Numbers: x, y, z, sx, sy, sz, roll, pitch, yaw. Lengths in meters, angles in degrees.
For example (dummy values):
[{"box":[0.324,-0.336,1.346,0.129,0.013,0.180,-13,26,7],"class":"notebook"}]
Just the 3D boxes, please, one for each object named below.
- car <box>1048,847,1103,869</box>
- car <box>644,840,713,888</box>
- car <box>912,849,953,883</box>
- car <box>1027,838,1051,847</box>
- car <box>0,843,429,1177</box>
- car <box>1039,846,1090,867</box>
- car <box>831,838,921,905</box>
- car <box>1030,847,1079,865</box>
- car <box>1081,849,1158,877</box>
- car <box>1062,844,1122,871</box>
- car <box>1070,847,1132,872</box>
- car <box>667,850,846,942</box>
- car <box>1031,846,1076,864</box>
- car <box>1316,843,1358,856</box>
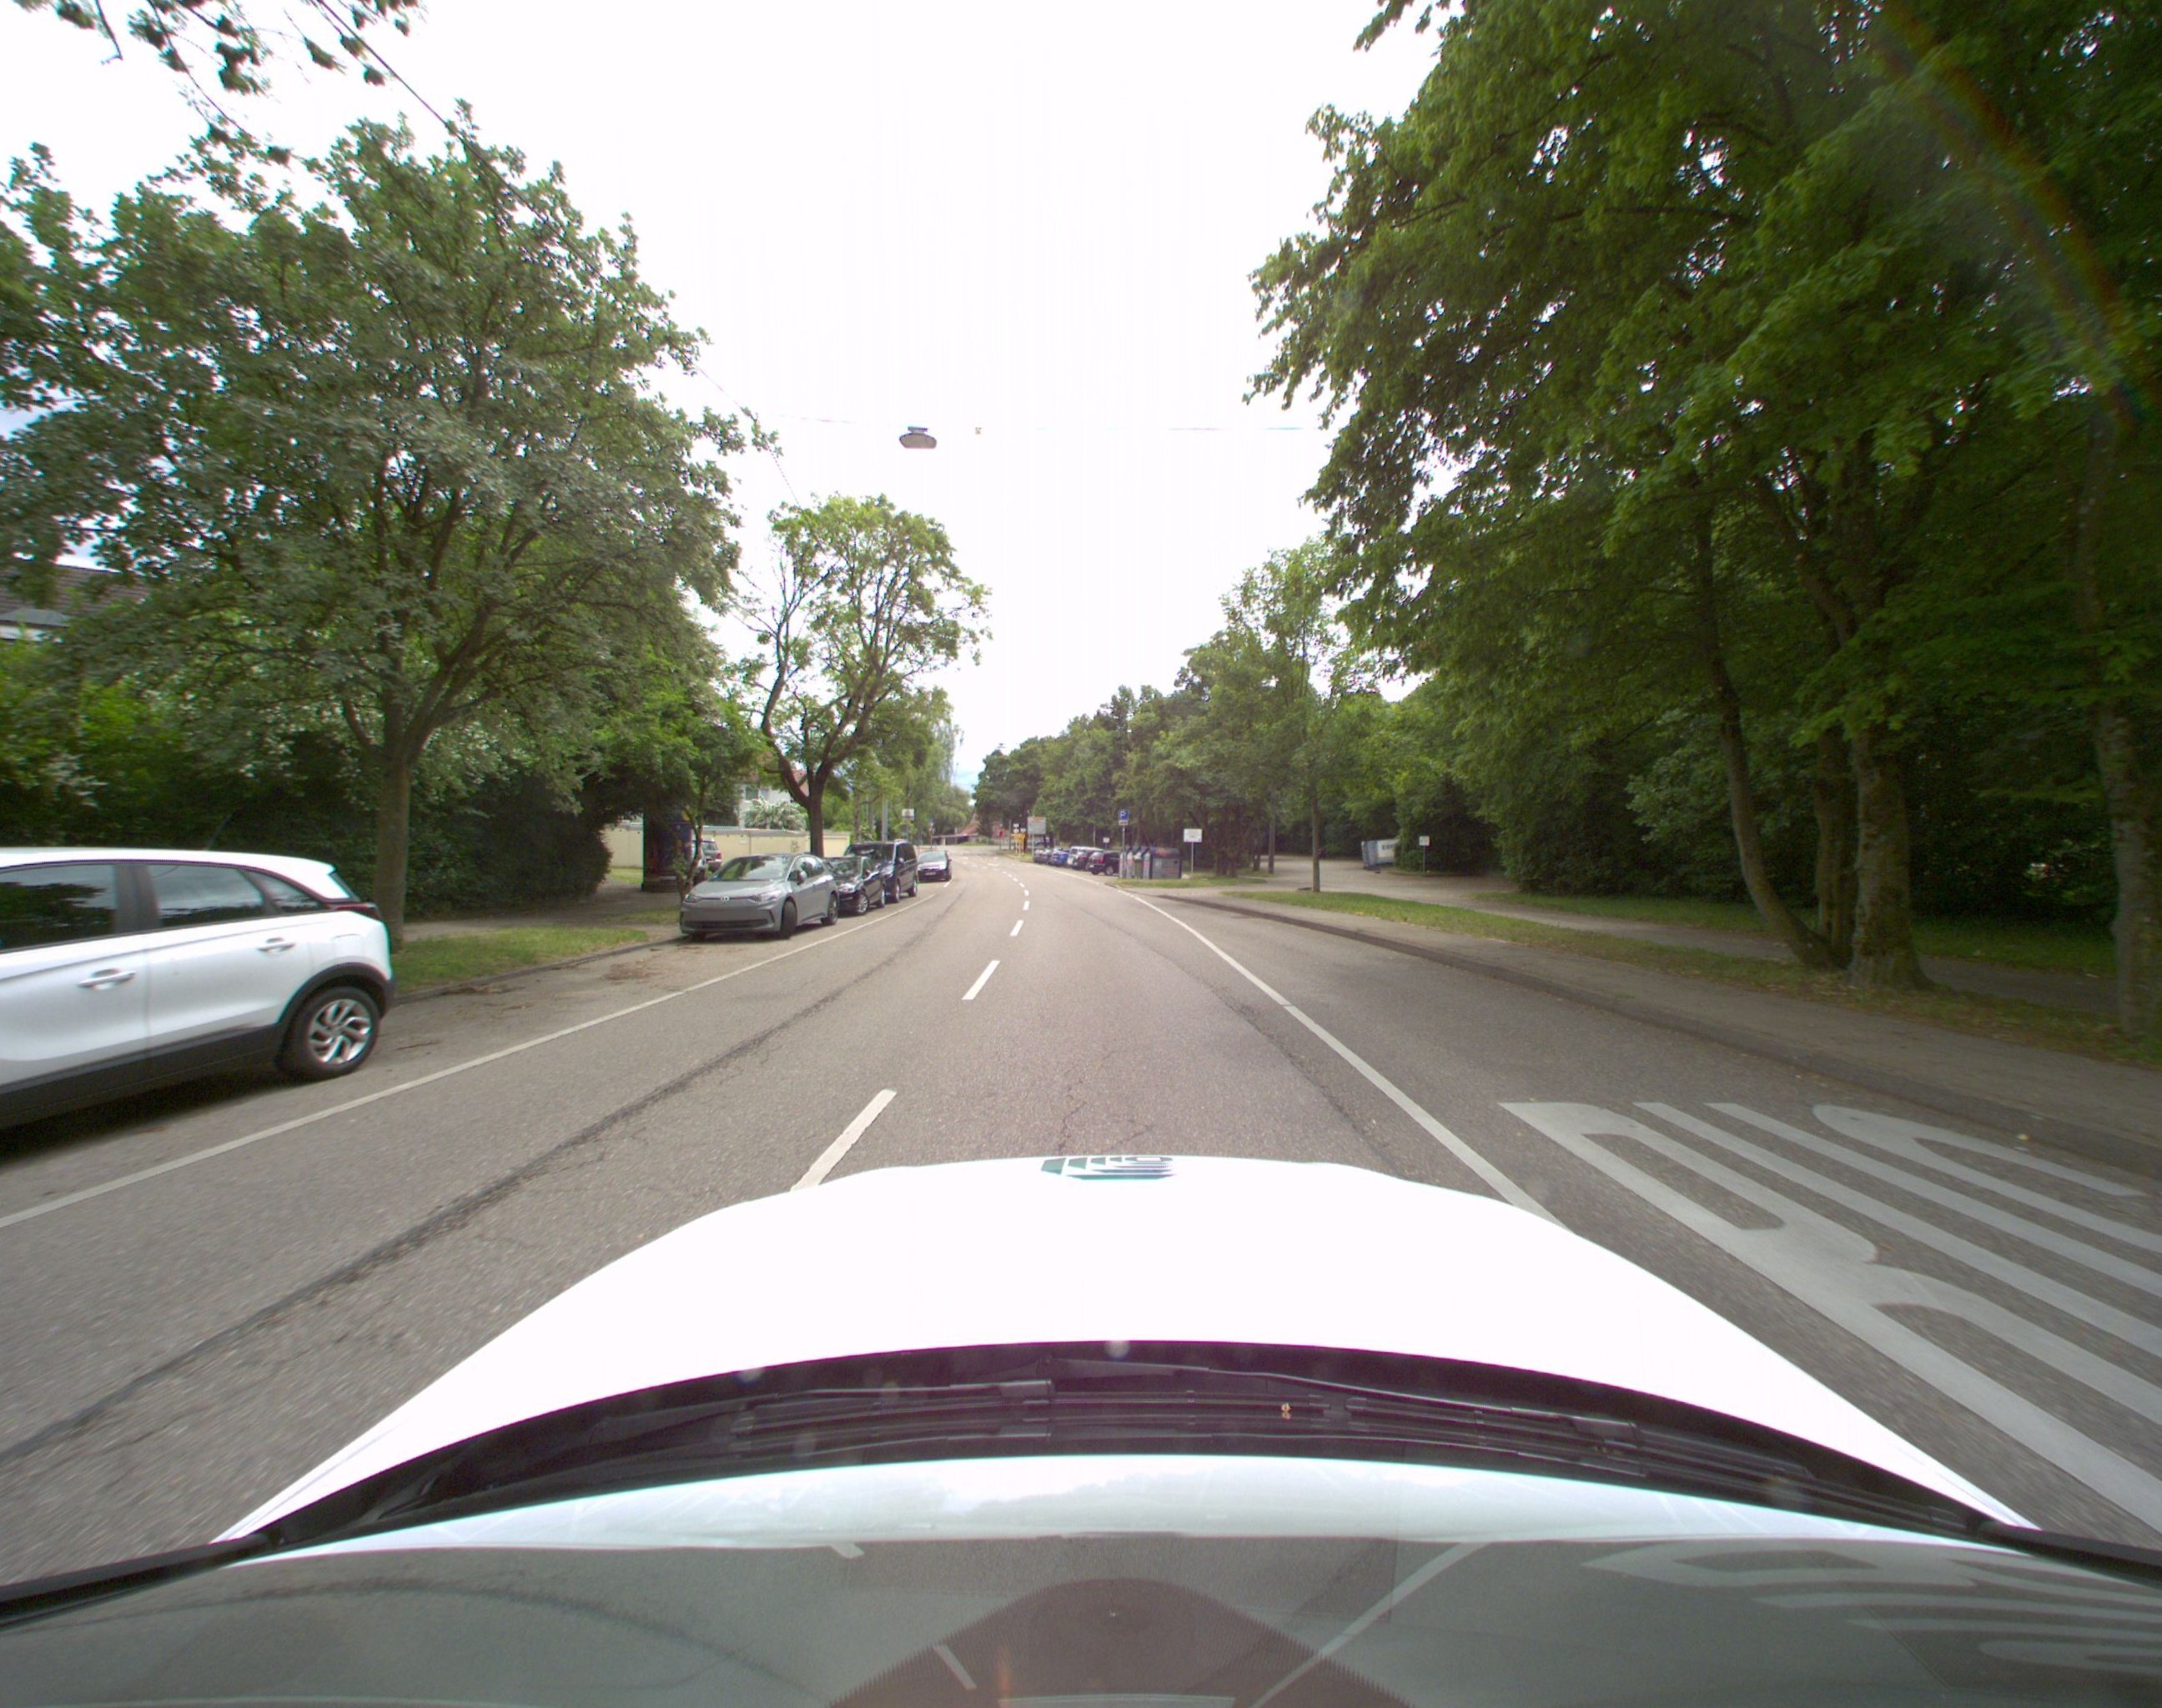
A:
[{"box":[-0.433,0.292,63.528,3.841,1.528,1.730,3,-1,-29],"class":"car"},{"box":[-13.985,0.328,28.477,1.780,1.478,3.961,4,-1,-22],"class":"car"},{"box":[-7.659,0.588,42.225,1.803,1.563,4.256,-3,1,-7],"class":"car"},{"box":[-7.597,-2.157,148.163,3.869,1.647,1.981,0,1,-31],"class":"car"},{"box":[-5.964,0.746,4.209,1.729,1.578,4.143,-1,0,2],"class":"car"},{"box":[-1.382,0.216,68.369,3.841,1.528,1.730,3,-1,-29],"class":"car"},{"box":[-6.378,0.484,25.918,1.854,1.909,5.077,0,0,-3],"class":"car"},{"box":[-2.337,0.168,71.370,3.895,1.426,1.813,3,-1,-29],"class":"car"},{"box":[2.250,0.534,48.016,4.010,1.414,2.039,3,1,-29],"class":"car"},{"box":[0.817,0.263,58.911,3.841,1.720,1.861,3,-1,-29],"class":"car"},{"box":[1.382,0.379,56.088,3.841,1.468,1.731,3,0,-29],"class":"car"},{"box":[-6.088,0.705,15.884,1.861,1.538,4.225,0,0,-1],"class":"car"},{"box":[-2.548,0.100,76.176,3.841,1.425,1.730,3,-1,-29],"class":"car"},{"box":[27.551,-0.470,87.627,3.978,1.409,1.798,0,0,-4],"class":"car"}]
